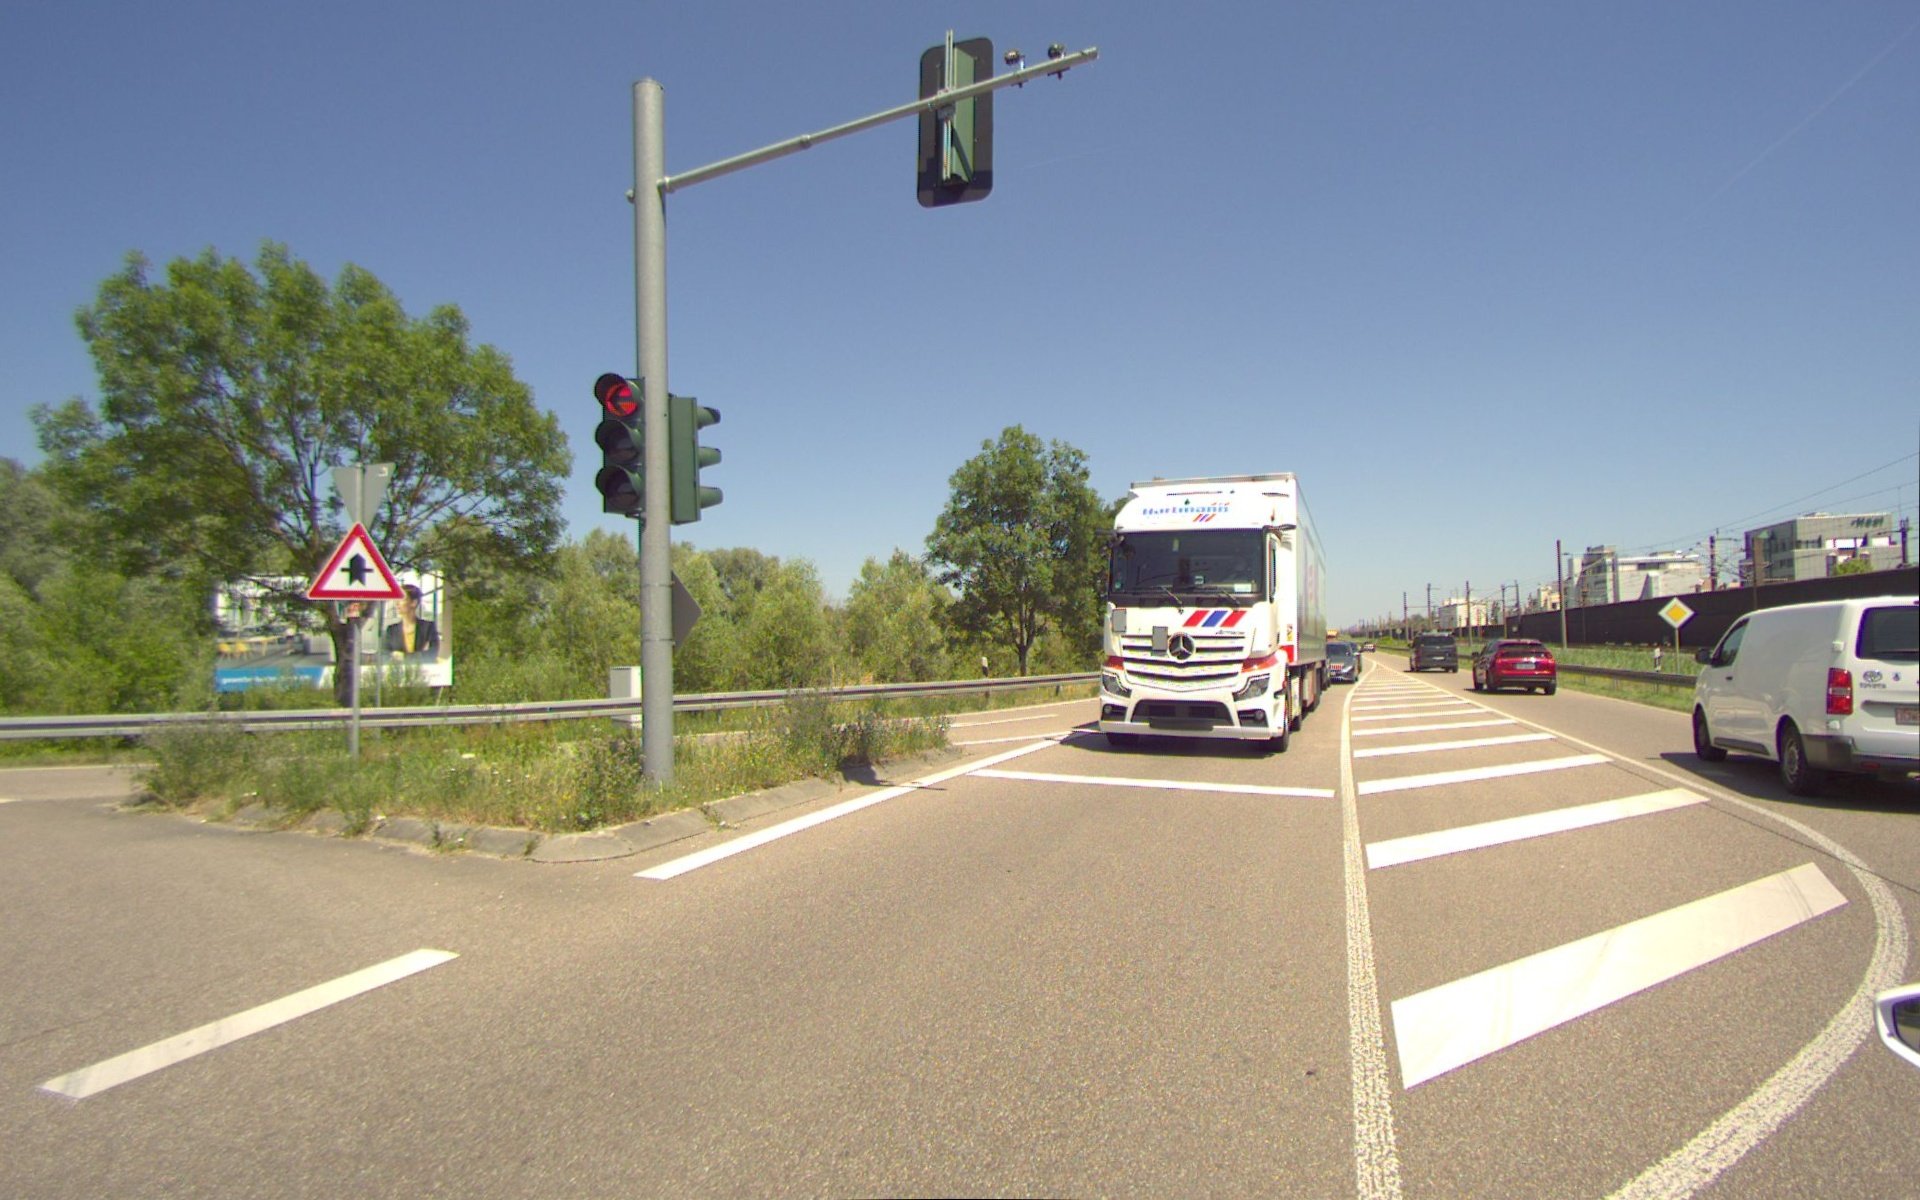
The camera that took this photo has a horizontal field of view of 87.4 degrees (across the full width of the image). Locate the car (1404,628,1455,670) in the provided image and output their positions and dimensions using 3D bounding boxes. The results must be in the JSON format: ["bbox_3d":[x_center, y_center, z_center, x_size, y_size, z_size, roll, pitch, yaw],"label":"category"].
[{"bbox_3d":[24.562,2.544,52.705,1.974,2.049,4.783,-1,-2,20],"label":"car"}]

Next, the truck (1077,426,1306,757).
[{"bbox_3d":[3.851,0.012,15.620,2.646,4.098,5.825,0,-2,21],"label":"truck"}]

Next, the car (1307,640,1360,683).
[{"bbox_3d":[14.608,2.366,39.132,1.599,1.558,4.381,-2,-3,24],"label":"car"}]

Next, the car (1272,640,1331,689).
[{"bbox_3d":[11.807,2.166,34.585,1.684,1.582,4.154,-1,-3,22],"label":"car"}]

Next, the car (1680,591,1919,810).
[{"bbox_3d":[9.591,0.972,10.874,1.915,1.906,4.879,0,-2,23],"label":"car"}]

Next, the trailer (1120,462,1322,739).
[{"bbox_3d":[6.306,0.297,21.949,2.646,4.098,14.124,0,-2,21],"label":"trailer"}]

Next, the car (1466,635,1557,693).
[{"bbox_3d":[17.092,1.943,31.296,1.874,1.671,4.141,0,-2,20],"label":"car"}]
